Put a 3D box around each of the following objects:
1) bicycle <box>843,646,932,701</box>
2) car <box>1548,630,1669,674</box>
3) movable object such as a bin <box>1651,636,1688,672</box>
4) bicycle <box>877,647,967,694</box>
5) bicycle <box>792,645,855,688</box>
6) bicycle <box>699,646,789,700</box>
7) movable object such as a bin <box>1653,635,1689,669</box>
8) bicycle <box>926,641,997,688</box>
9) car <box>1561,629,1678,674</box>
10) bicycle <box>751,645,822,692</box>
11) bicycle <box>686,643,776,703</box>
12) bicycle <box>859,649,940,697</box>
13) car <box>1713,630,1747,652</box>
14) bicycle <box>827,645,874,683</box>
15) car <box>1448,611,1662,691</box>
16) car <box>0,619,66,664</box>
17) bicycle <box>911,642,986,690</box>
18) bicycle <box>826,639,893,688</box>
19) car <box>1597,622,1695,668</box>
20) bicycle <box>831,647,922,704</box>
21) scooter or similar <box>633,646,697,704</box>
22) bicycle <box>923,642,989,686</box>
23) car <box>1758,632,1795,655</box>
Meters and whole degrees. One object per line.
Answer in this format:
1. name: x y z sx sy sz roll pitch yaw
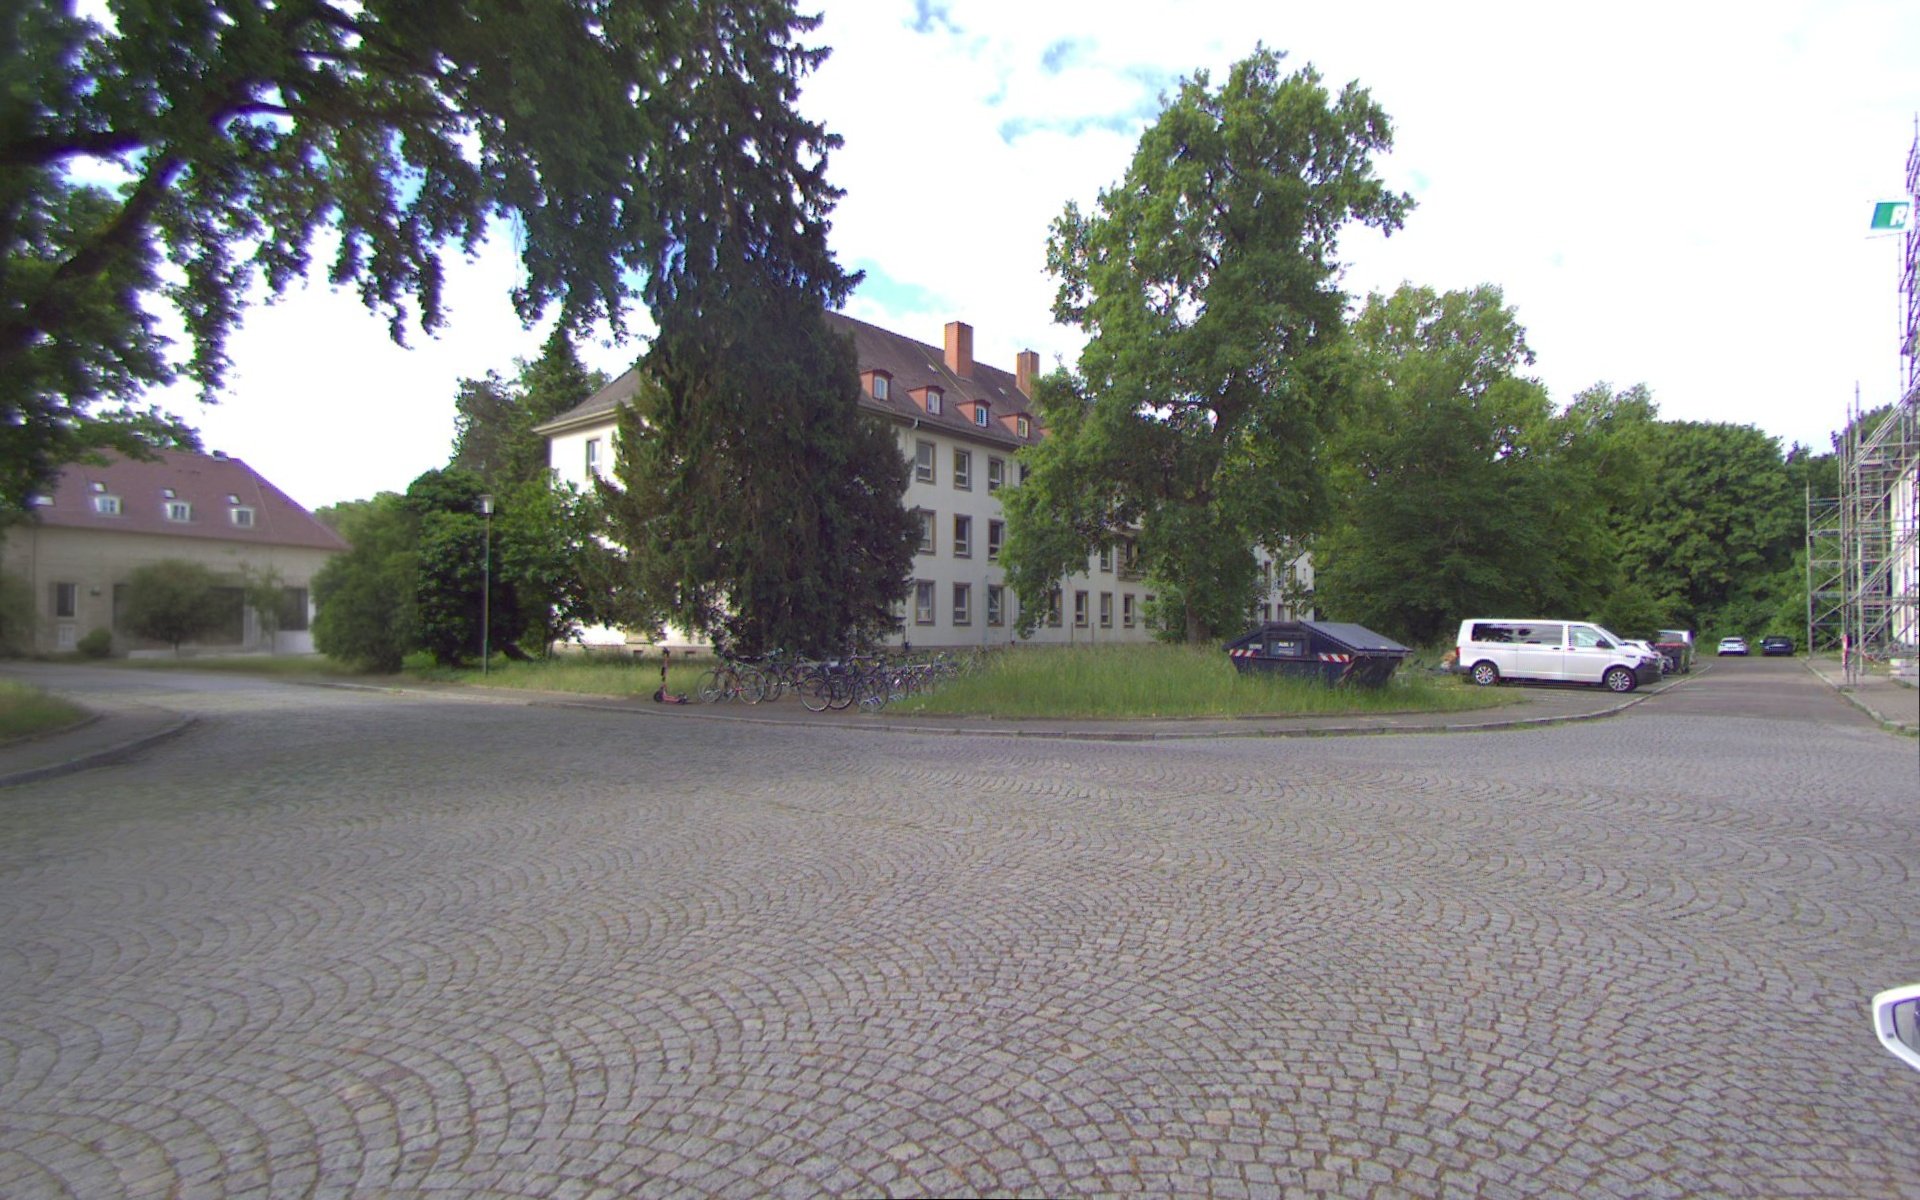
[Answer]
1. bicycle: -1.559 1.576 21.619 1.764 1.118 0.702 -2 0 21
2. car: 25.265 2.012 39.190 1.808 1.500 3.595 3 -1 -42
3. movable object such as a bin: 30.181 2.281 42.745 1.170 1.425 0.971 2 -1 40
4. bicycle: -0.873 1.609 23.017 1.922 1.018 0.686 -2 0 21
5. bicycle: -3.460 1.678 25.480 1.485 1.049 0.545 0 0 10
6. bicycle: -4.880 1.639 22.705 1.953 1.129 0.643 0 0 21
7. movable object such as a bin: 30.953 2.254 43.738 1.170 1.425 0.971 2 -1 40
8. bicycle: 0.041 1.608 25.191 1.669 1.131 0.541 -2 0 21
9. car: 26.777 2.072 40.838 1.752 1.613 3.645 3 -1 -43
10. bicycle: -4.166 1.628 24.132 1.596 1.088 0.540 0 0 10
11. bicycle: -5.032 1.583 22.062 1.864 1.239 0.643 0 1 21
12. bicycle: -1.349 1.618 22.318 1.663 1.015 0.632 -2 0 21
13. car: 60.552 3.254 78.993 1.975 1.568 3.945 2 -1 36
14. bicycle: -3.051 1.785 28.071 1.238 1.042 0.434 -2 -4 21
15. car: 17.370 1.417 29.449 5.137 2.087 2.179 0 -2 39
16. car: -49.967 2.109 51.741 2.094 2.236 5.508 2 -1 39
17. bicycle: -0.274 1.619 24.719 1.742 1.120 0.541 -2 0 21
18. bicycle: -2.596 1.628 25.938 1.611 1.201 0.574 0 0 14
19. car: 34.417 2.233 50.477 3.934 2.040 1.915 2 -1 36
20. bicycle: -1.742 1.572 20.914 1.739 1.118 0.702 -2 0 21
21. scooter or similar: -6.483 1.630 22.050 1.531 1.210 0.678 -2 -2 43
22. bicycle: -0.116 1.650 25.885 1.590 1.073 0.526 -2 0 21
23. car: 62.860 3.341 77.315 2.040 1.614 3.979 2 -1 42
